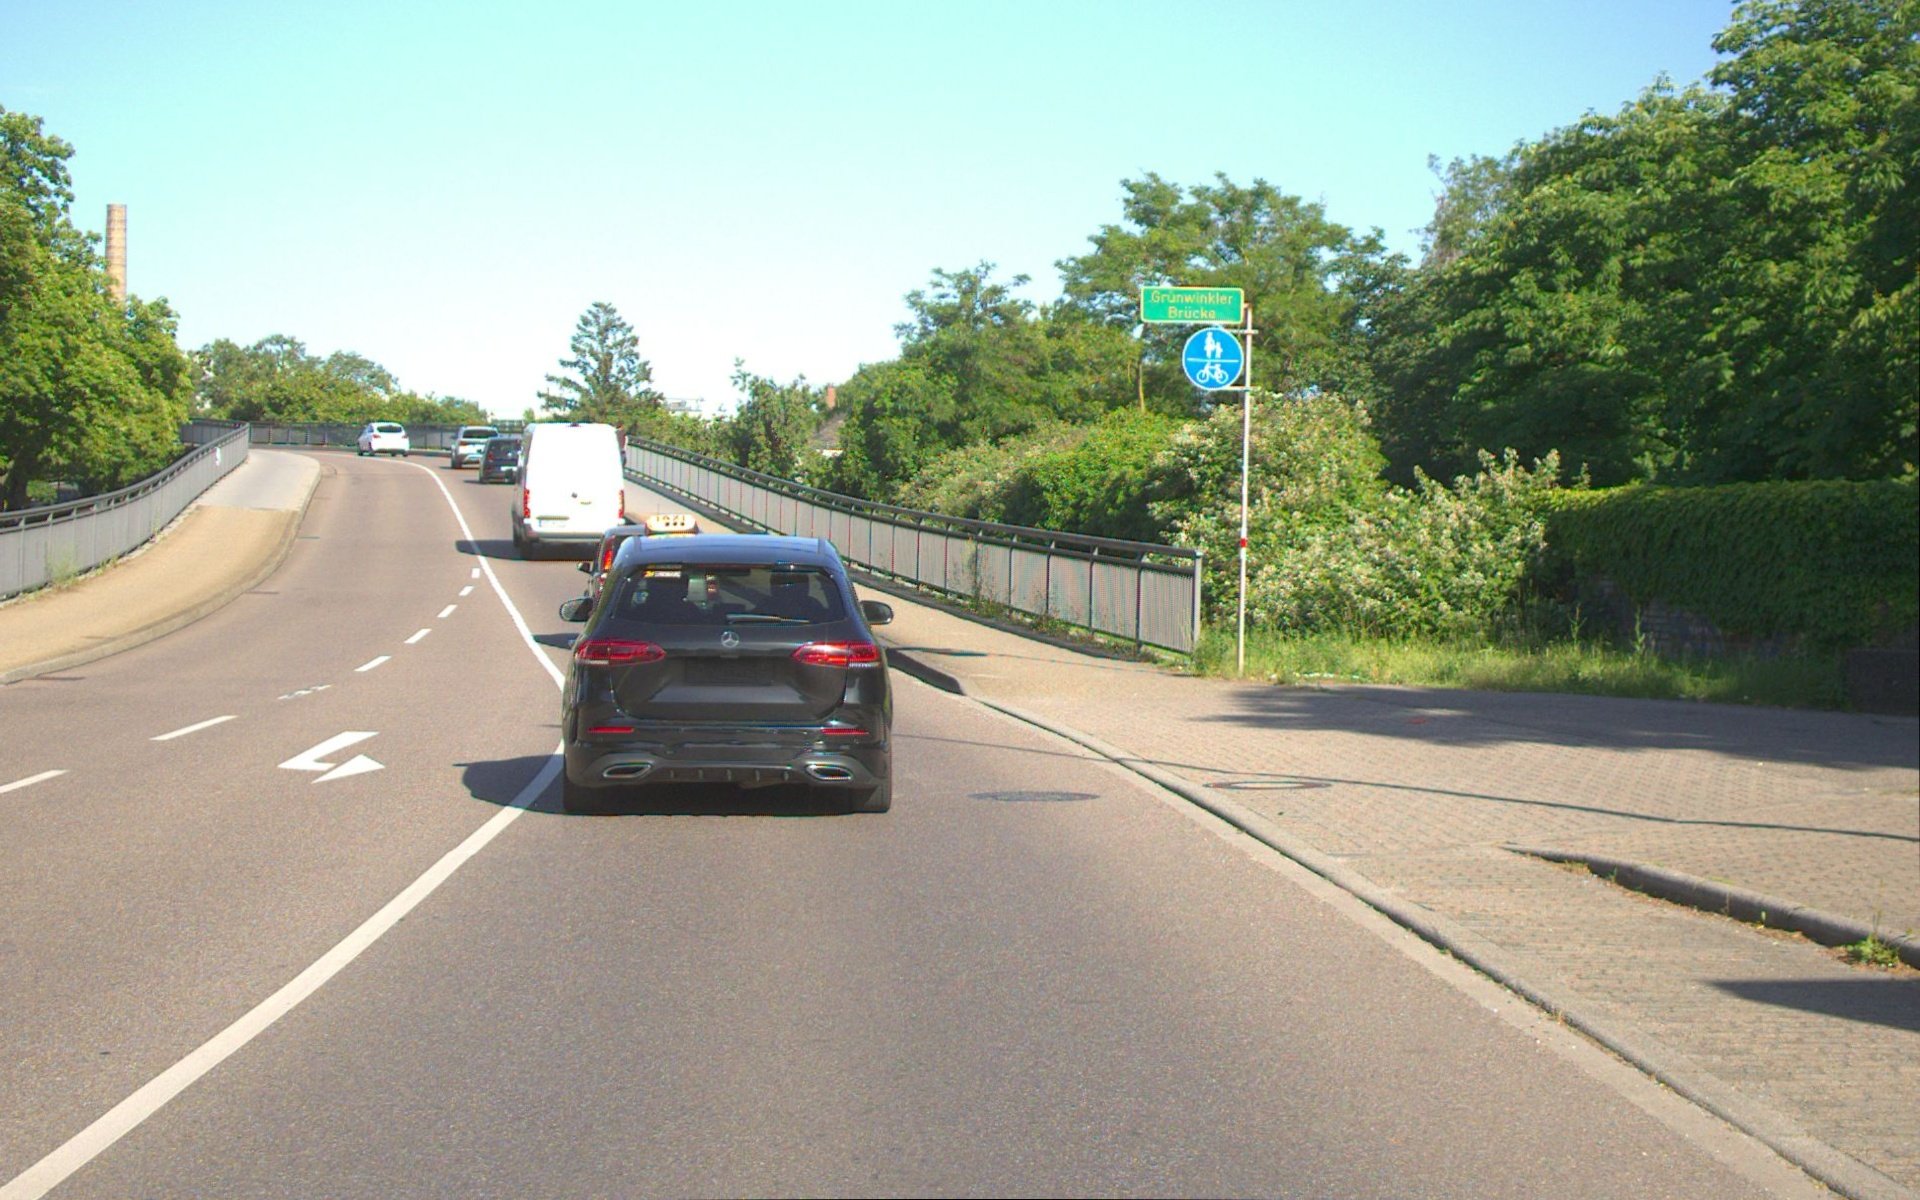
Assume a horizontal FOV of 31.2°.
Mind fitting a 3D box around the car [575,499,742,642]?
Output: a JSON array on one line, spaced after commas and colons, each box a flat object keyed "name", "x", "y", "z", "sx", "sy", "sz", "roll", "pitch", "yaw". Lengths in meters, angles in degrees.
[{"name": "car", "x": -3.767, "y": -0.355, "z": 42.418, "sx": 1.804, "sy": 1.634, "sz": 4.001, "roll": 1, "pitch": 0, "yaw": -8}]

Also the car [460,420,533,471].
[{"name": "car", "x": -16.776, "y": -5.593, "z": 124.560, "sx": 1.993, "sy": 1.674, "sz": 4.000, "roll": 0, "pitch": 0, "yaw": 2}]

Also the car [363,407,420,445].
[{"name": "car", "x": -25.052, "y": -7.662, "z": 151.437, "sx": 1.876, "sy": 1.538, "sz": 4.002, "roll": 1, "pitch": 1, "yaw": -18}]

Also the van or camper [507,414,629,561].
[{"name": "van or camper", "x": -7.826, "y": -2.233, "z": 68.785, "sx": 2.226, "sy": 2.729, "sz": 7.082, "roll": 2, "pitch": 1, "yaw": -6}]

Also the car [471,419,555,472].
[{"name": "car", "x": -14.044, "y": -4.844, "z": 108.215, "sx": 1.918, "sy": 1.483, "sz": 4.270, "roll": 0, "pitch": 0, "yaw": 2}]

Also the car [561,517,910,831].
[{"name": "car", "x": -1.307, "y": 0.362, "z": 19.872, "sx": 1.769, "sy": 1.587, "sz": 3.990, "roll": 2, "pitch": 1, "yaw": -4}]
